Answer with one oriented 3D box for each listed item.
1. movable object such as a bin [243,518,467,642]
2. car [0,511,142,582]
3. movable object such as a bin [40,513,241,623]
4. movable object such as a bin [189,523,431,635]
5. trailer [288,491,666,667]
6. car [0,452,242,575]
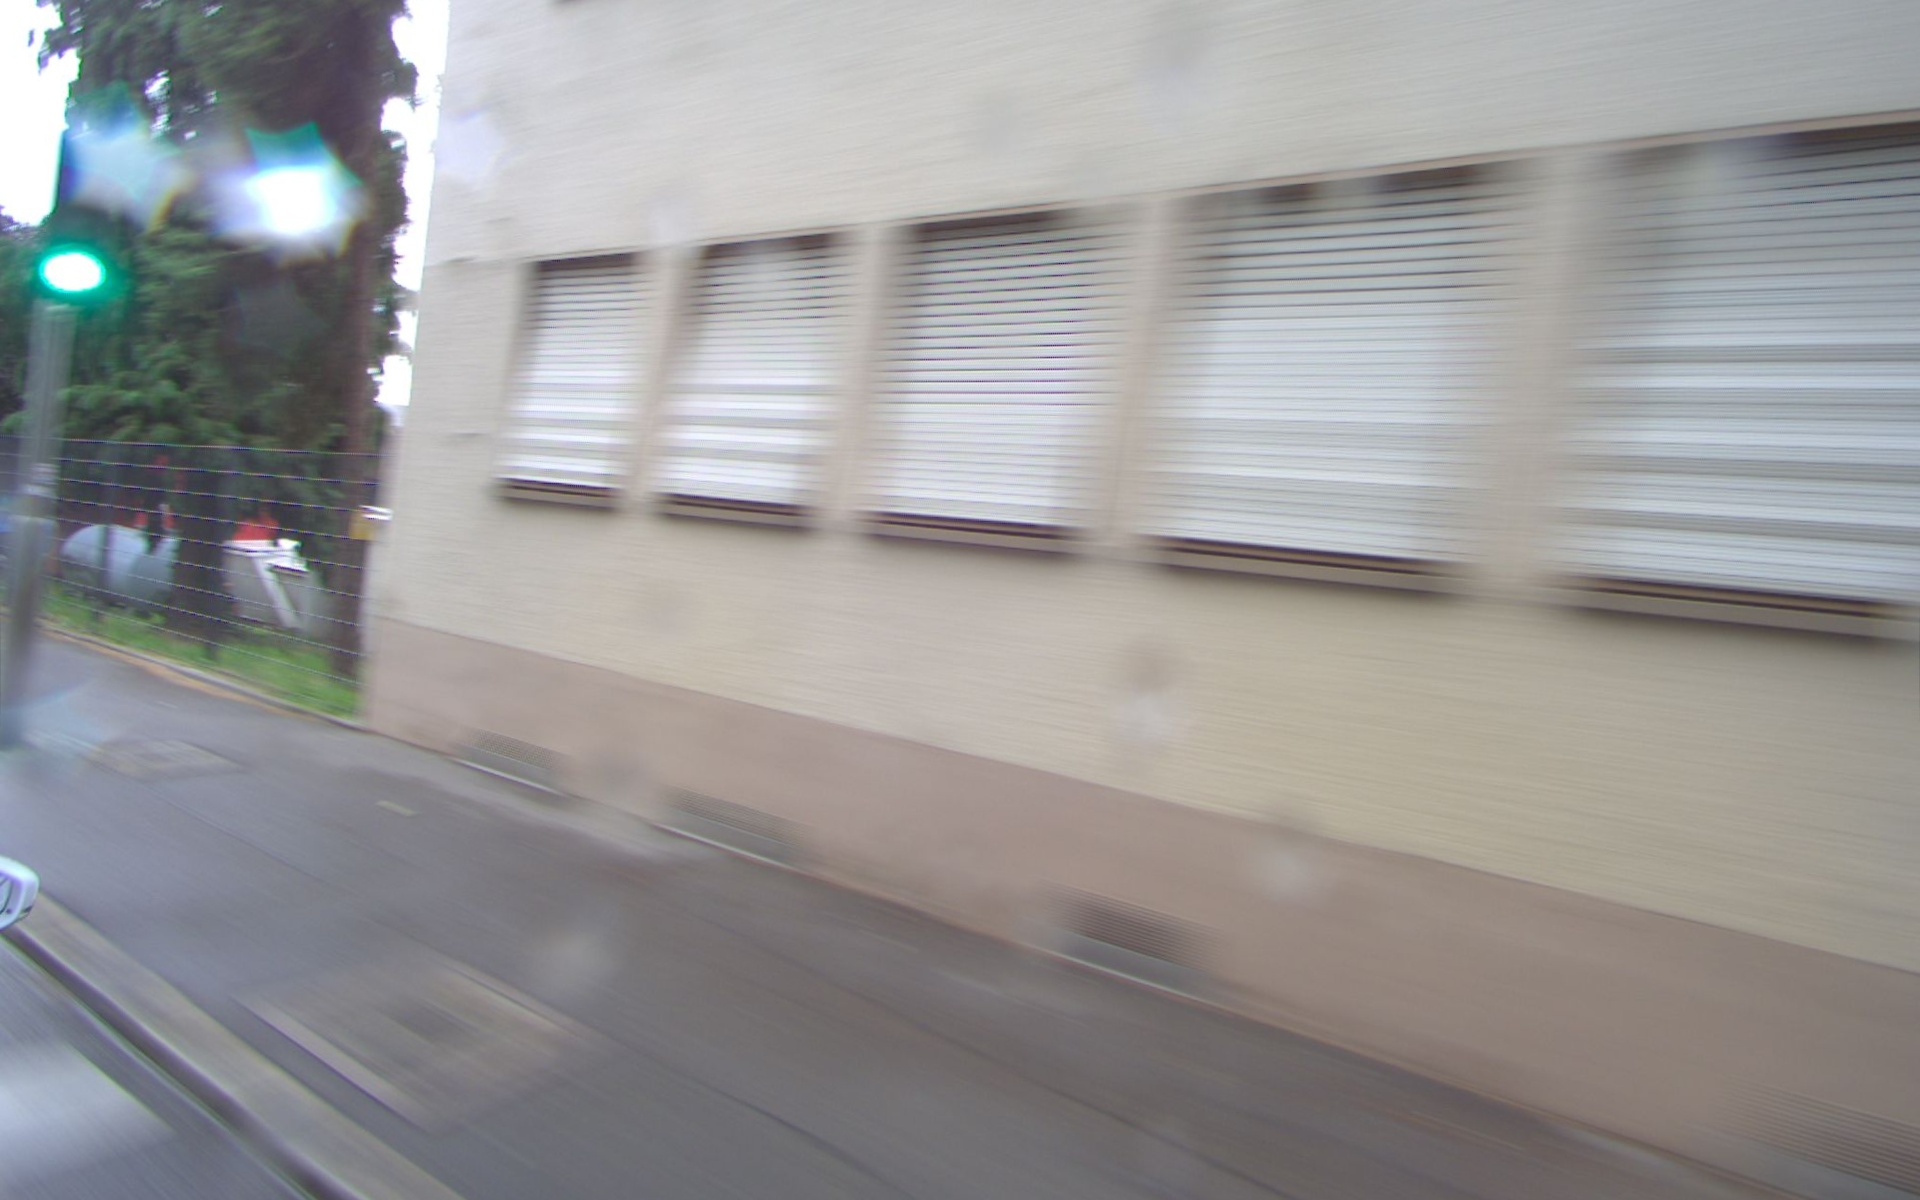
[{"bbox_3d":[-10.826,-0.321,18.121,2.048,1.736,2.623,7,-2,29],"label":"movable object such as a bin"},{"bbox_3d":[-25.124,-1.518,27.082,1.764,1.549,4.387,6,-1,30],"label":"car"},{"bbox_3d":[-13.190,-0.517,16.182,2.809,1.335,1.374,7,-1,27],"label":"movable object such as a bin"},{"bbox_3d":[-12.473,-0.350,19.497,1.859,1.595,3.339,7,-2,29],"label":"movable object such as a bin"},{"bbox_3d":[-7.864,-0.195,17.100,2.012,2.211,5.433,6,-3,30],"label":"trailer"},{"bbox_3d":[-22.018,-2.173,25.617,1.966,2.236,5.581,7,-2,30],"label":"car"}]
